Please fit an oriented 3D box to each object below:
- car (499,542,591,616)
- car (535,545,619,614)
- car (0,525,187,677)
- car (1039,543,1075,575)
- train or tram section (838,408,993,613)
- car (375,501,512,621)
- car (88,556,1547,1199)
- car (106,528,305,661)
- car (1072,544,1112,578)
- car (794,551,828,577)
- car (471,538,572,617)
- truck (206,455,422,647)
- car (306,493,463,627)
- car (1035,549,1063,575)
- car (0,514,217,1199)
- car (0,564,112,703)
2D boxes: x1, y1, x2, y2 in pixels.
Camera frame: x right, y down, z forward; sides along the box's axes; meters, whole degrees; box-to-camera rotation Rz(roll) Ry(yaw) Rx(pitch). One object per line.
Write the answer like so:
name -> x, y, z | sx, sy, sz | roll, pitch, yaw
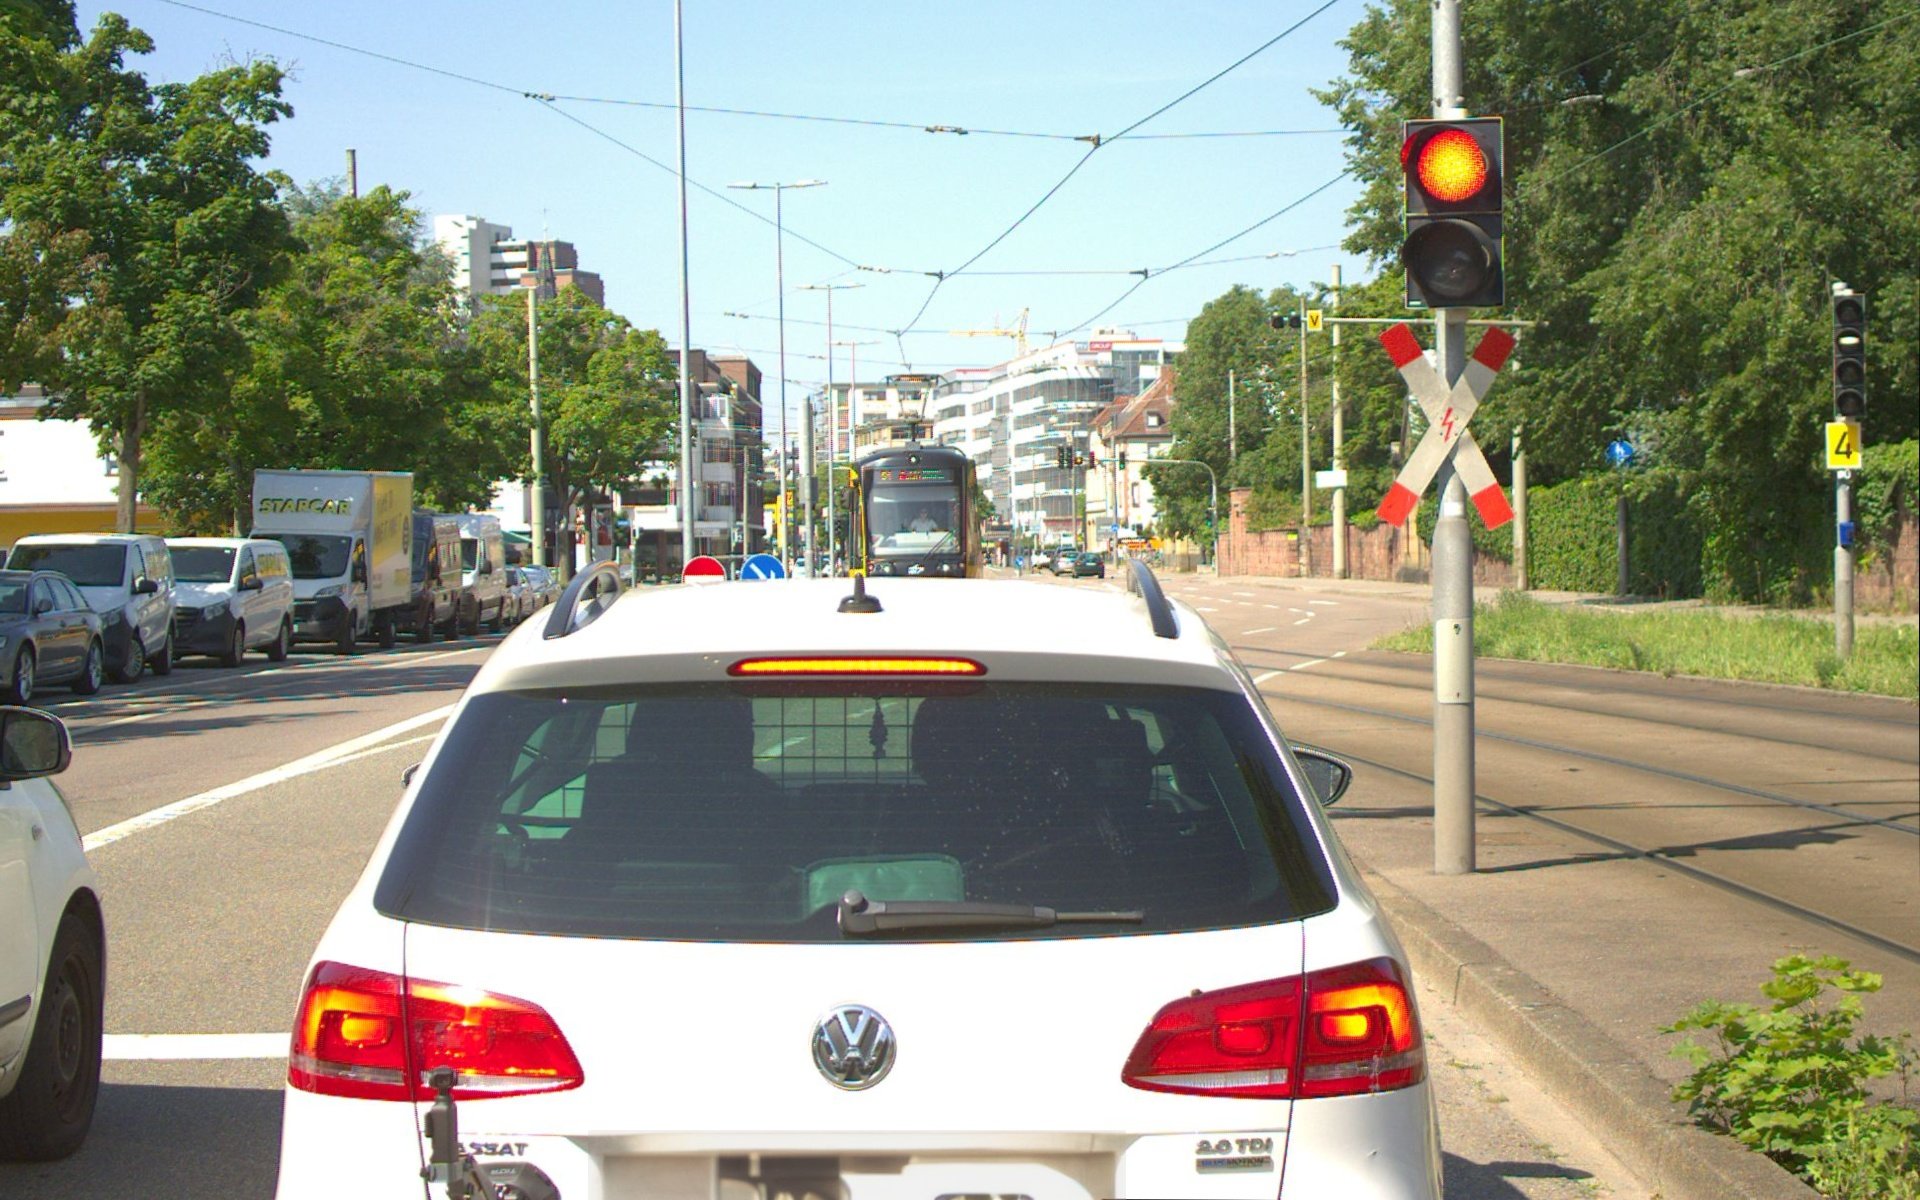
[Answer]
car -> -11.033, -0.593, 91.681 | 1.863, 1.861, 5.414 | 1, 1, -1
car -> -10.957, -0.608, 98.599 | 1.863, 1.861, 5.414 | 1, 1, -1
car -> -11.460, -0.032, 45.310 | 1.863, 1.861, 5.075 | 1, 1, -6
car -> 5.820, -2.461, 207.183 | 1.863, 1.861, 5.062 | 1, 1, -1
train or tram section -> -0.817, -1.827, 71.838 | 2.870, 3.842, 12.392 | -1, 1, 0
car -> -11.320, -0.885, 75.751 | 2.123, 2.508, 5.733 | 1, 1, 0
car -> -0.186, 0.668, 6.203 | 1.762, 1.425, 4.000 | -1, 1, -1
car -> -11.315, -0.126, 51.900 | 1.863, 1.861, 5.414 | 1, 1, -1
car -> 7.398, -2.205, 192.739 | 1.863, 1.861, 5.062 | 1, 1, -1
car -> -8.765, -2.139, 202.955 | 1.705, 1.468, 4.589 | -1, 1, 1
car -> -10.781, -0.582, 84.865 | 1.863, 1.861, 5.414 | 1, 1, -1
truck -> -11.230, -0.872, 60.313 | 2.421, 3.139, 6.997 | 1, 1, 0
car -> -11.368, -0.814, 68.315 | 2.123, 2.508, 5.733 | 1, 1, 0
car -> 6.781, -2.901, 262.452 | 1.863, 1.861, 5.062 | 1, 1, -1
car -> -2.933, 0.588, 7.374 | 1.662, 1.542, 4.547 | 0, 1, 0
car -> -10.968, 0.327, 38.651 | 1.863, 1.411, 4.280 | 1, 1, -1
